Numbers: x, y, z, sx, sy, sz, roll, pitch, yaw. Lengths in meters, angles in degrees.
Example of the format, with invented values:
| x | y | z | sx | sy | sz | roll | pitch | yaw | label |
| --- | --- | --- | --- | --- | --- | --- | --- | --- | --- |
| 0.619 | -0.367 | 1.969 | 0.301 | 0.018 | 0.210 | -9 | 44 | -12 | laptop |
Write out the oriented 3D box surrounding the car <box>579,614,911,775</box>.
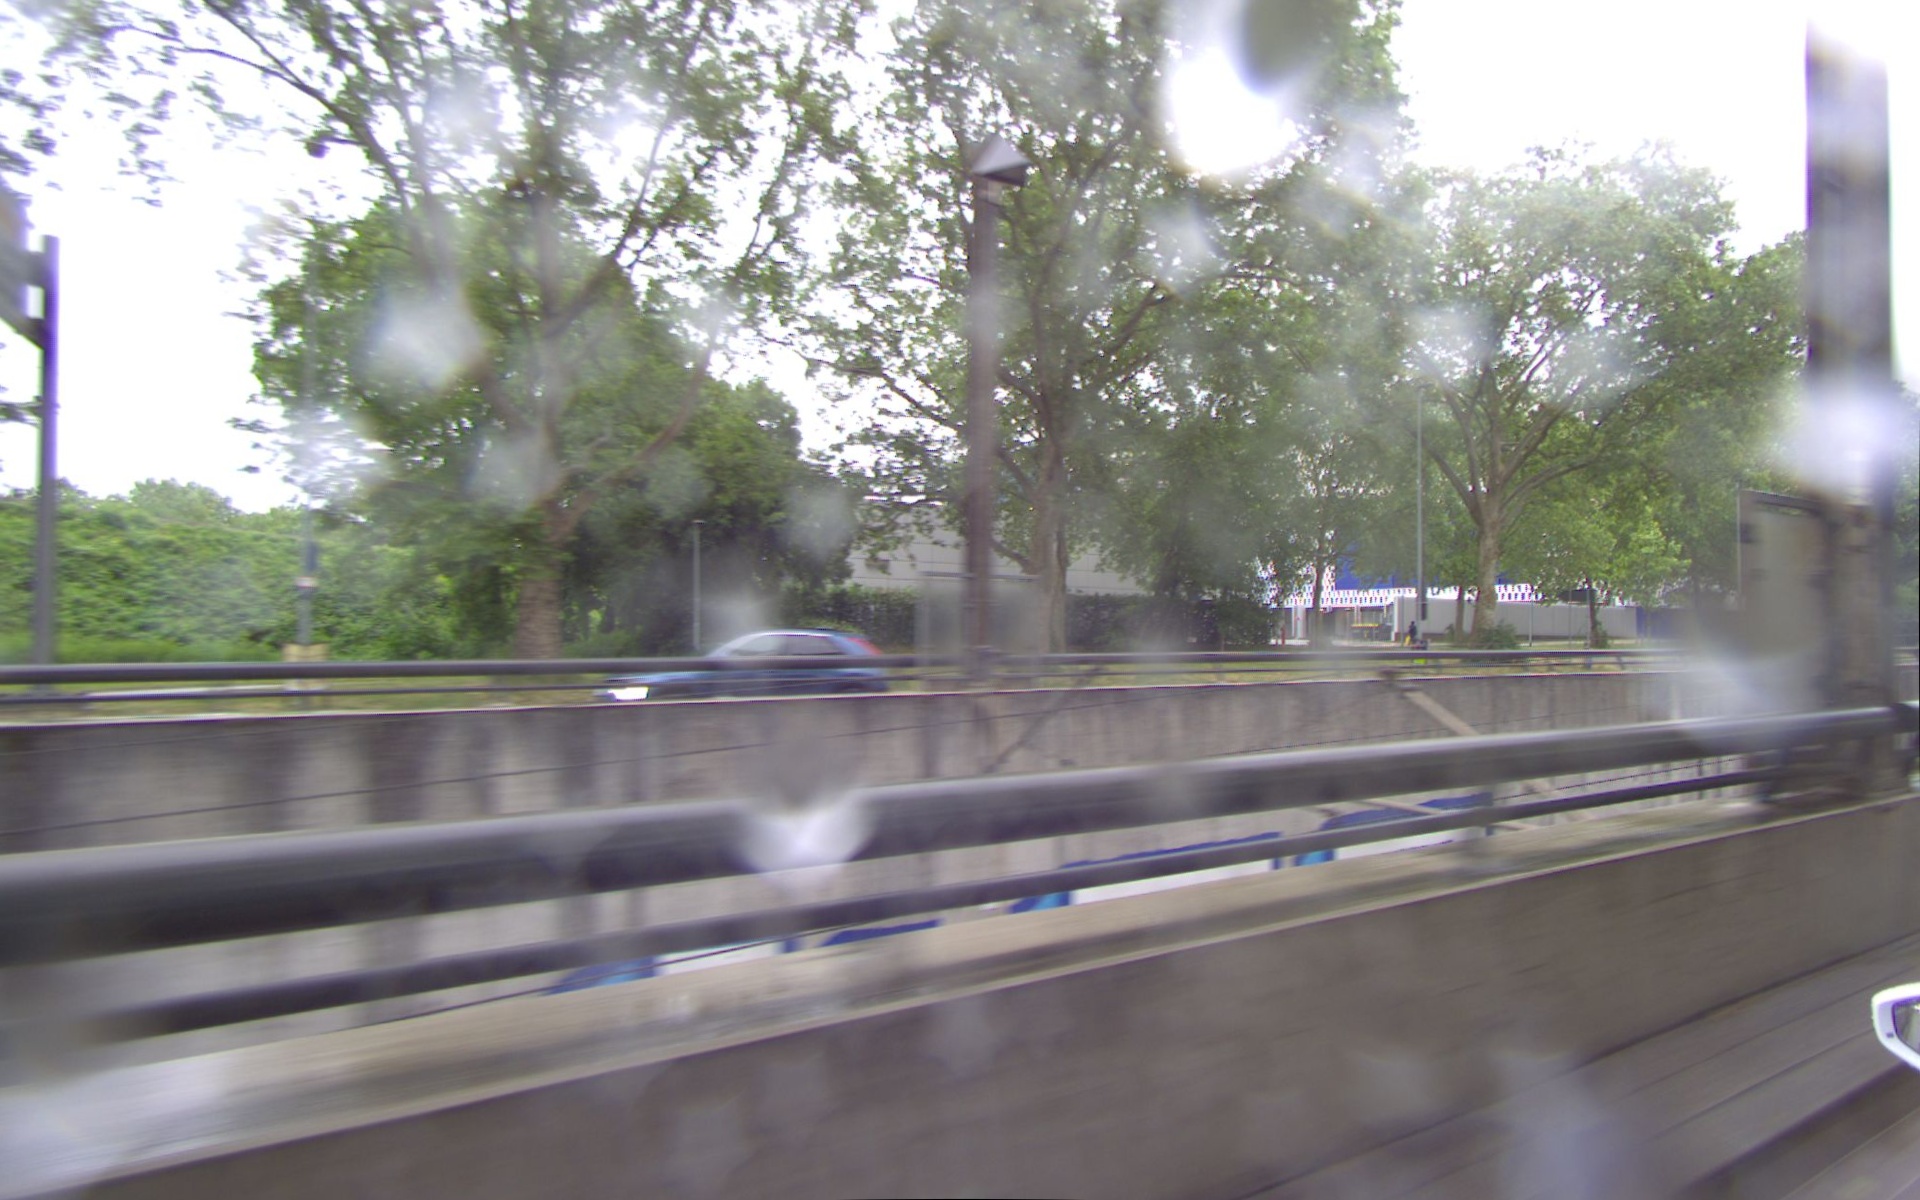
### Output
| x | y | z | sx | sy | sz | roll | pitch | yaw | label |
| --- | --- | --- | --- | --- | --- | --- | --- | --- | --- |
| -3.170 | 1.287 | 15.035 | 4.458 | 2.040 | 1.984 | 1 | 0 | -31 | car |

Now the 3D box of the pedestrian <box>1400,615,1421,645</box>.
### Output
| x | y | z | sx | sy | sz | roll | pitch | yaw | label |
| --- | --- | --- | --- | --- | --- | --- | --- | --- | --- |
| 31.504 | 2.097 | 70.245 | 0.780 | 2.040 | 0.997 | 1 | 0 | -28 | pedestrian |
